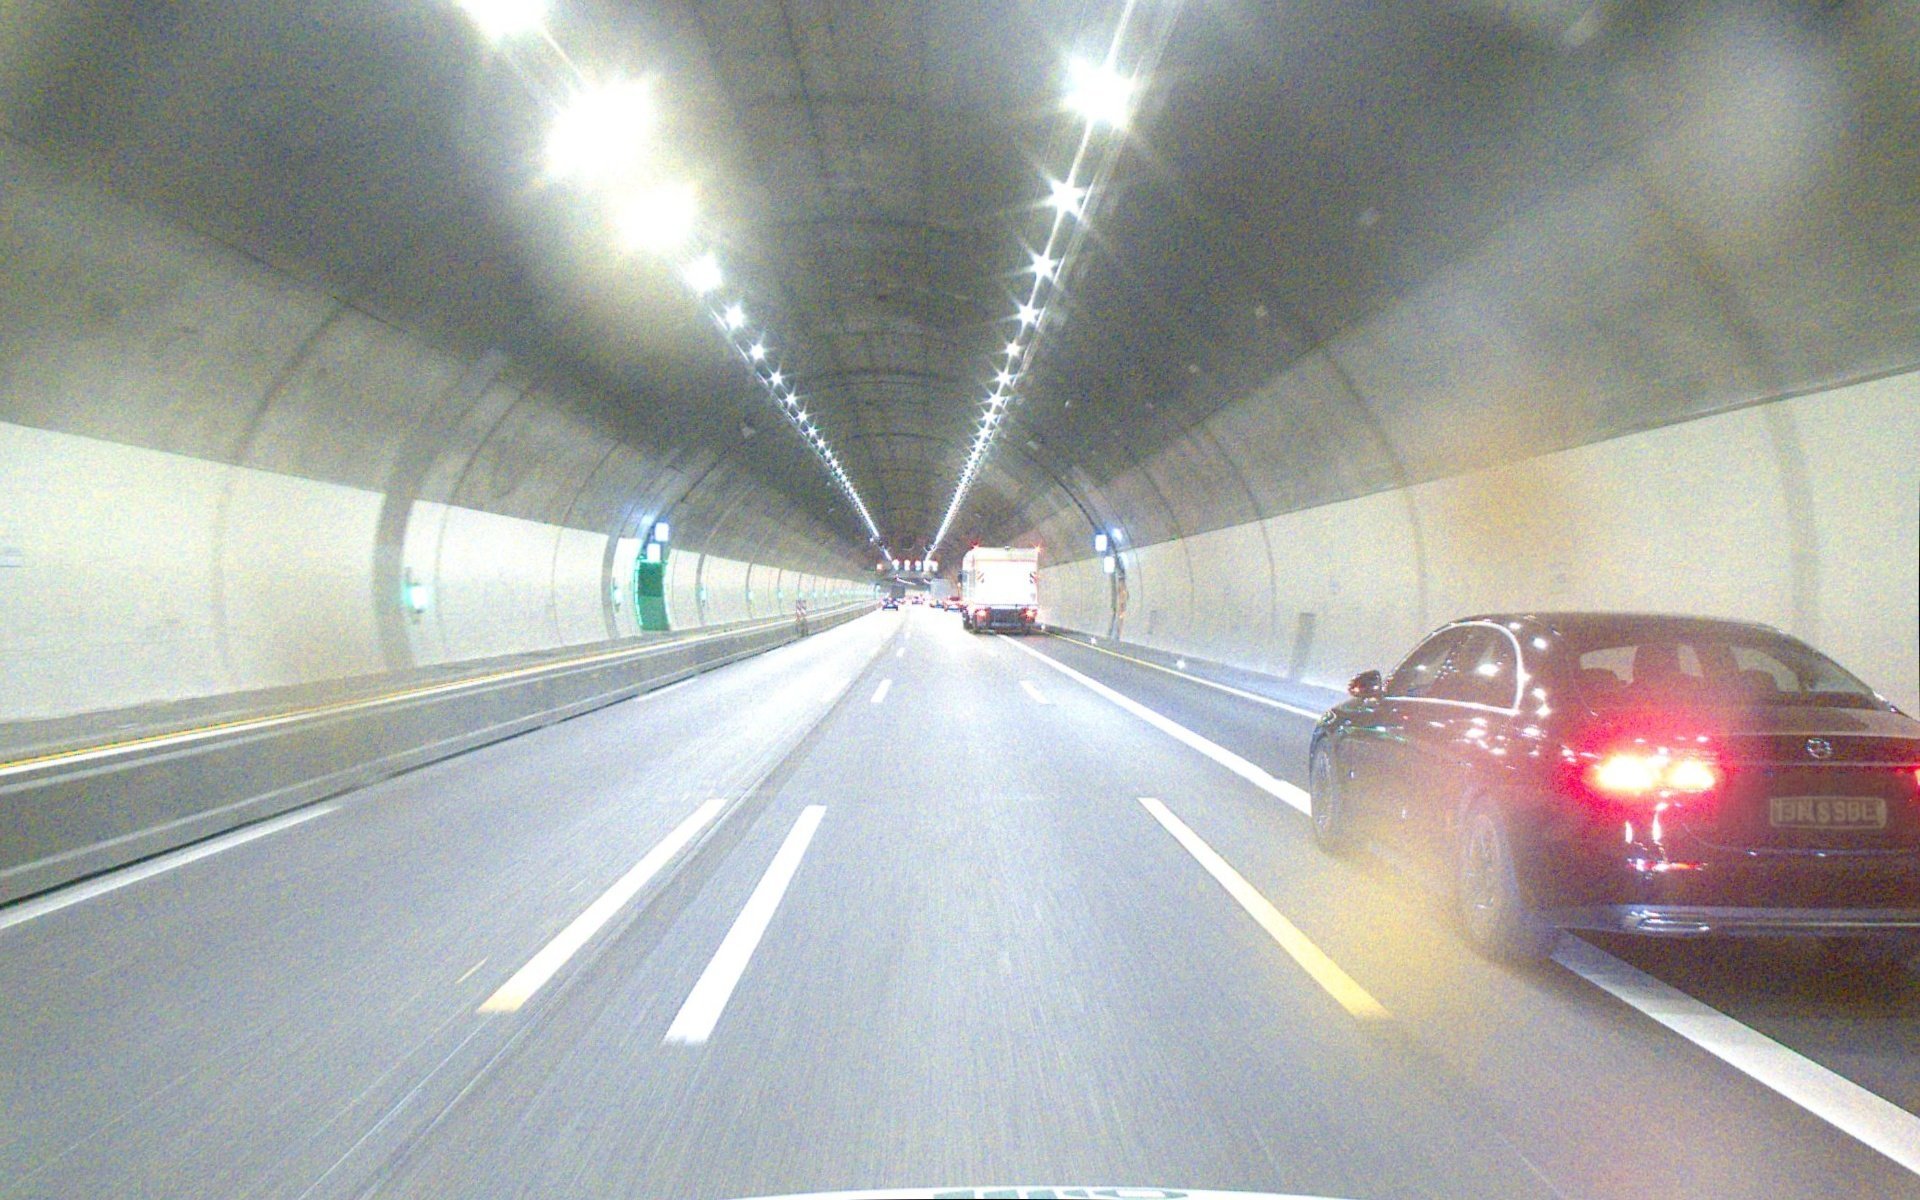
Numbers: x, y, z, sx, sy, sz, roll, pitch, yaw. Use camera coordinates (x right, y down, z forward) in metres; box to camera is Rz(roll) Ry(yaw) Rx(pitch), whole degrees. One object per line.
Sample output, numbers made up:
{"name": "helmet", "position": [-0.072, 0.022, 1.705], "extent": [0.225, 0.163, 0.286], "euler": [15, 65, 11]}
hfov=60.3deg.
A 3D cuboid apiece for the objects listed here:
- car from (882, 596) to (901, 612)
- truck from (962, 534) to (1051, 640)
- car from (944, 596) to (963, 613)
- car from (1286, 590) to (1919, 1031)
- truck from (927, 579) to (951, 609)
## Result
{"name": "car", "position": [-6.657, 0.381, 160.388], "extent": [1.723, 1.486, 4.118], "euler": [3, 0, -1]}
{"name": "truck", "position": [1.833, -0.425, 69.938], "extent": [3.029, 3.986, 10.364], "euler": [3, -1, -1]}
{"name": "car", "position": [-0.591, 0.390, 158.034], "extent": [1.704, 1.486, 3.960], "euler": [3, 0, 0]}
{"name": "car", "position": [3.100, 0.776, 8.324], "extent": [1.886, 1.498, 4.954], "euler": [3, 0, 0]}
{"name": "truck", "position": [-2.987, -0.762, 237.689], "extent": [3.004, 3.986, 10.366], "euler": [3, -1, 0]}
